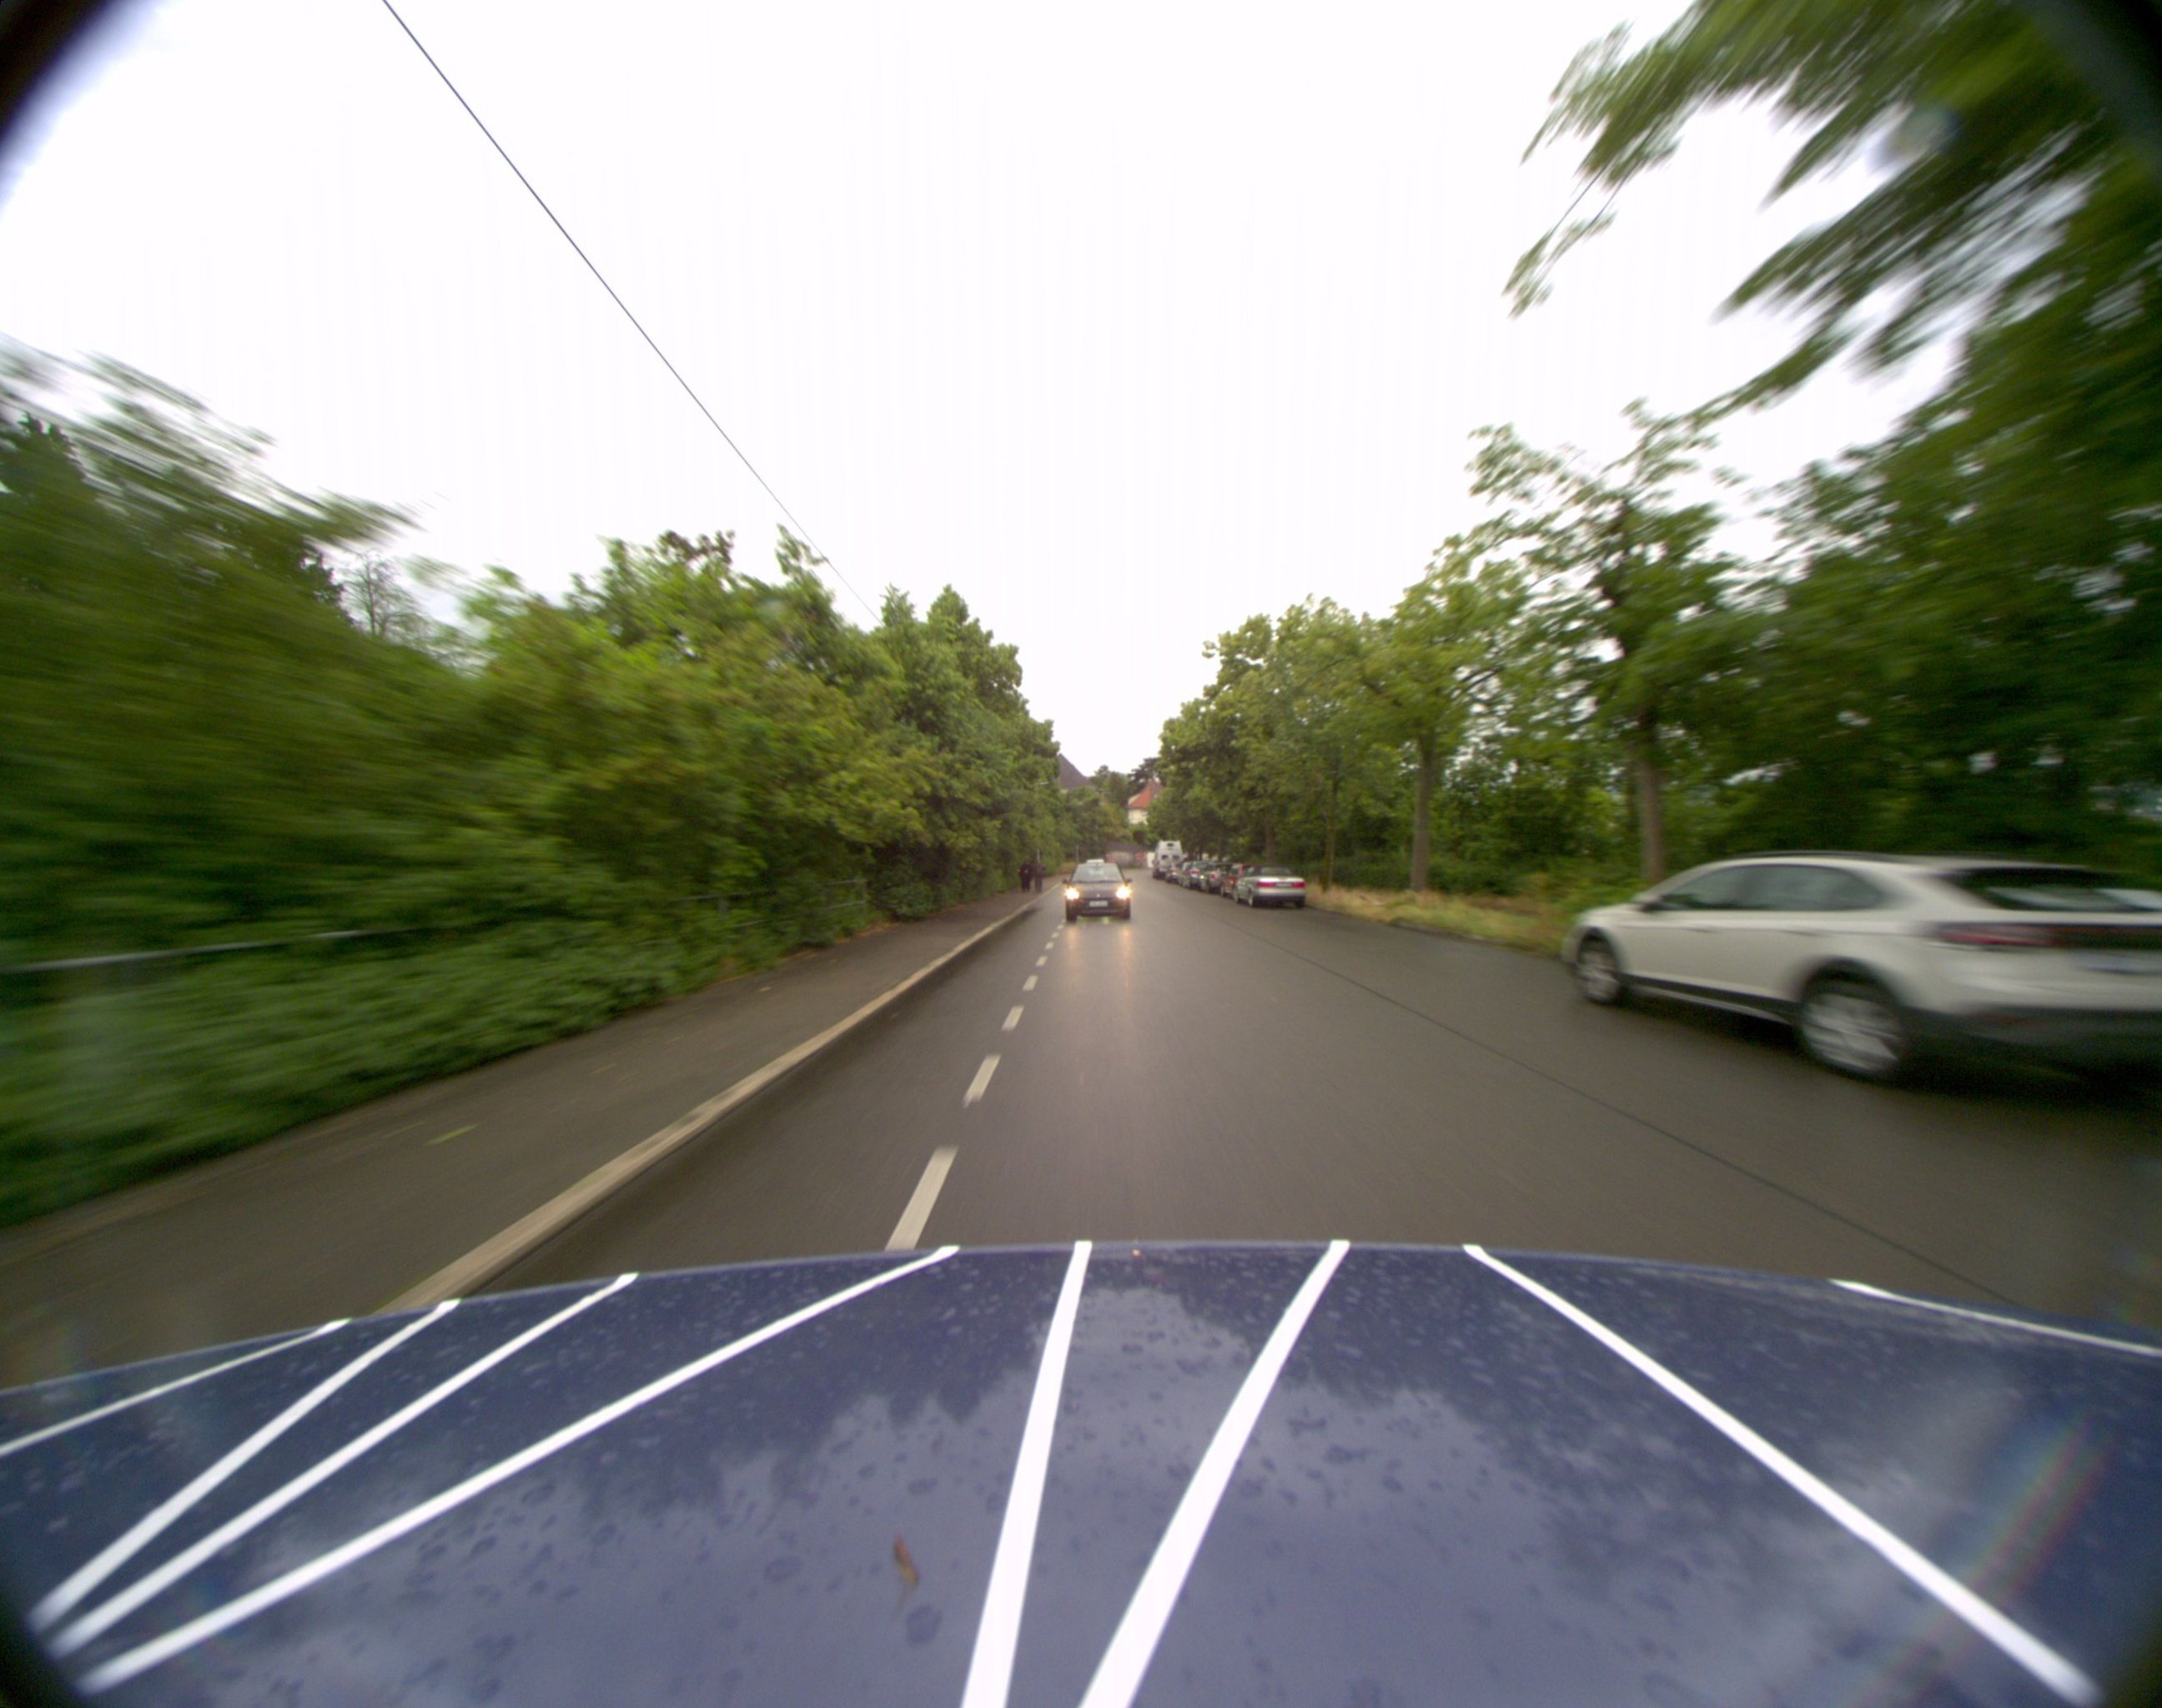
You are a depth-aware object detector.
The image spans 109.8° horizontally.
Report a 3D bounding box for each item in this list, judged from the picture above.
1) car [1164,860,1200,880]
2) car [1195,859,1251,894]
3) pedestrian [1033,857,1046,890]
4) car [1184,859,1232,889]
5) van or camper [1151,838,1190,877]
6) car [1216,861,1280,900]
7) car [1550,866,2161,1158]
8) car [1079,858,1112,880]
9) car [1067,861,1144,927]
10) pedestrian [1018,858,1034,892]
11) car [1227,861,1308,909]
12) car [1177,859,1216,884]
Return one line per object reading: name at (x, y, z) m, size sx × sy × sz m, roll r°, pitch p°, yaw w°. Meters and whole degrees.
car at (6.838, 1.072, 51.901) m, size 1.998 × 1.301 × 5.357 m, roll 1°, pitch -1°, yaw 3°
car at (6.537, 1.002, 35.523) m, size 1.998 × 1.397 × 4.715 m, roll 1°, pitch 0°, yaw 3°
pedestrian at (-2.006, 0.954, 36.811) m, size 0.553 × 1.558 × 0.486 m, roll 3°, pitch 4°, yaw 0°
car at (6.670, 0.998, 40.280) m, size 1.998 × 1.397 × 4.715 m, roll 1°, pitch 0°, yaw 3°
van or camper at (7.260, 0.270, 62.383) m, size 2.511 × 3.009 × 6.561 m, roll 1°, pitch 1°, yaw 2°
car at (6.586, 1.010, 30.406) m, size 1.599 × 1.354 × 4.000 m, roll 0°, pitch 0°, yaw -1°
car at (5.830, 0.857, 6.083) m, size 1.692 × 1.429 × 4.256 m, roll 0°, pitch 0°, yaw 3°
car at (1.169, 1.184, 59.521) m, size 2.029 × 1.619 × 4.230 m, roll 0°, pitch 0°, yaw 8°
car at (0.563, 0.966, 20.186) m, size 1.804 × 1.418 × 4.382 m, roll -1°, pitch 1°, yaw 0°
pedestrian at (-2.652, 1.004, 36.548) m, size 0.597 × 1.558 × 0.668 m, roll 2°, pitch 3°, yaw -11°
car at (6.175, 0.990, 25.640) m, size 1.759 × 1.394 × 4.419 m, roll 0°, pitch 0°, yaw 1°
car at (6.845, 1.060, 45.412) m, size 1.998 × 1.396 × 4.717 m, roll 1°, pitch -1°, yaw 5°
